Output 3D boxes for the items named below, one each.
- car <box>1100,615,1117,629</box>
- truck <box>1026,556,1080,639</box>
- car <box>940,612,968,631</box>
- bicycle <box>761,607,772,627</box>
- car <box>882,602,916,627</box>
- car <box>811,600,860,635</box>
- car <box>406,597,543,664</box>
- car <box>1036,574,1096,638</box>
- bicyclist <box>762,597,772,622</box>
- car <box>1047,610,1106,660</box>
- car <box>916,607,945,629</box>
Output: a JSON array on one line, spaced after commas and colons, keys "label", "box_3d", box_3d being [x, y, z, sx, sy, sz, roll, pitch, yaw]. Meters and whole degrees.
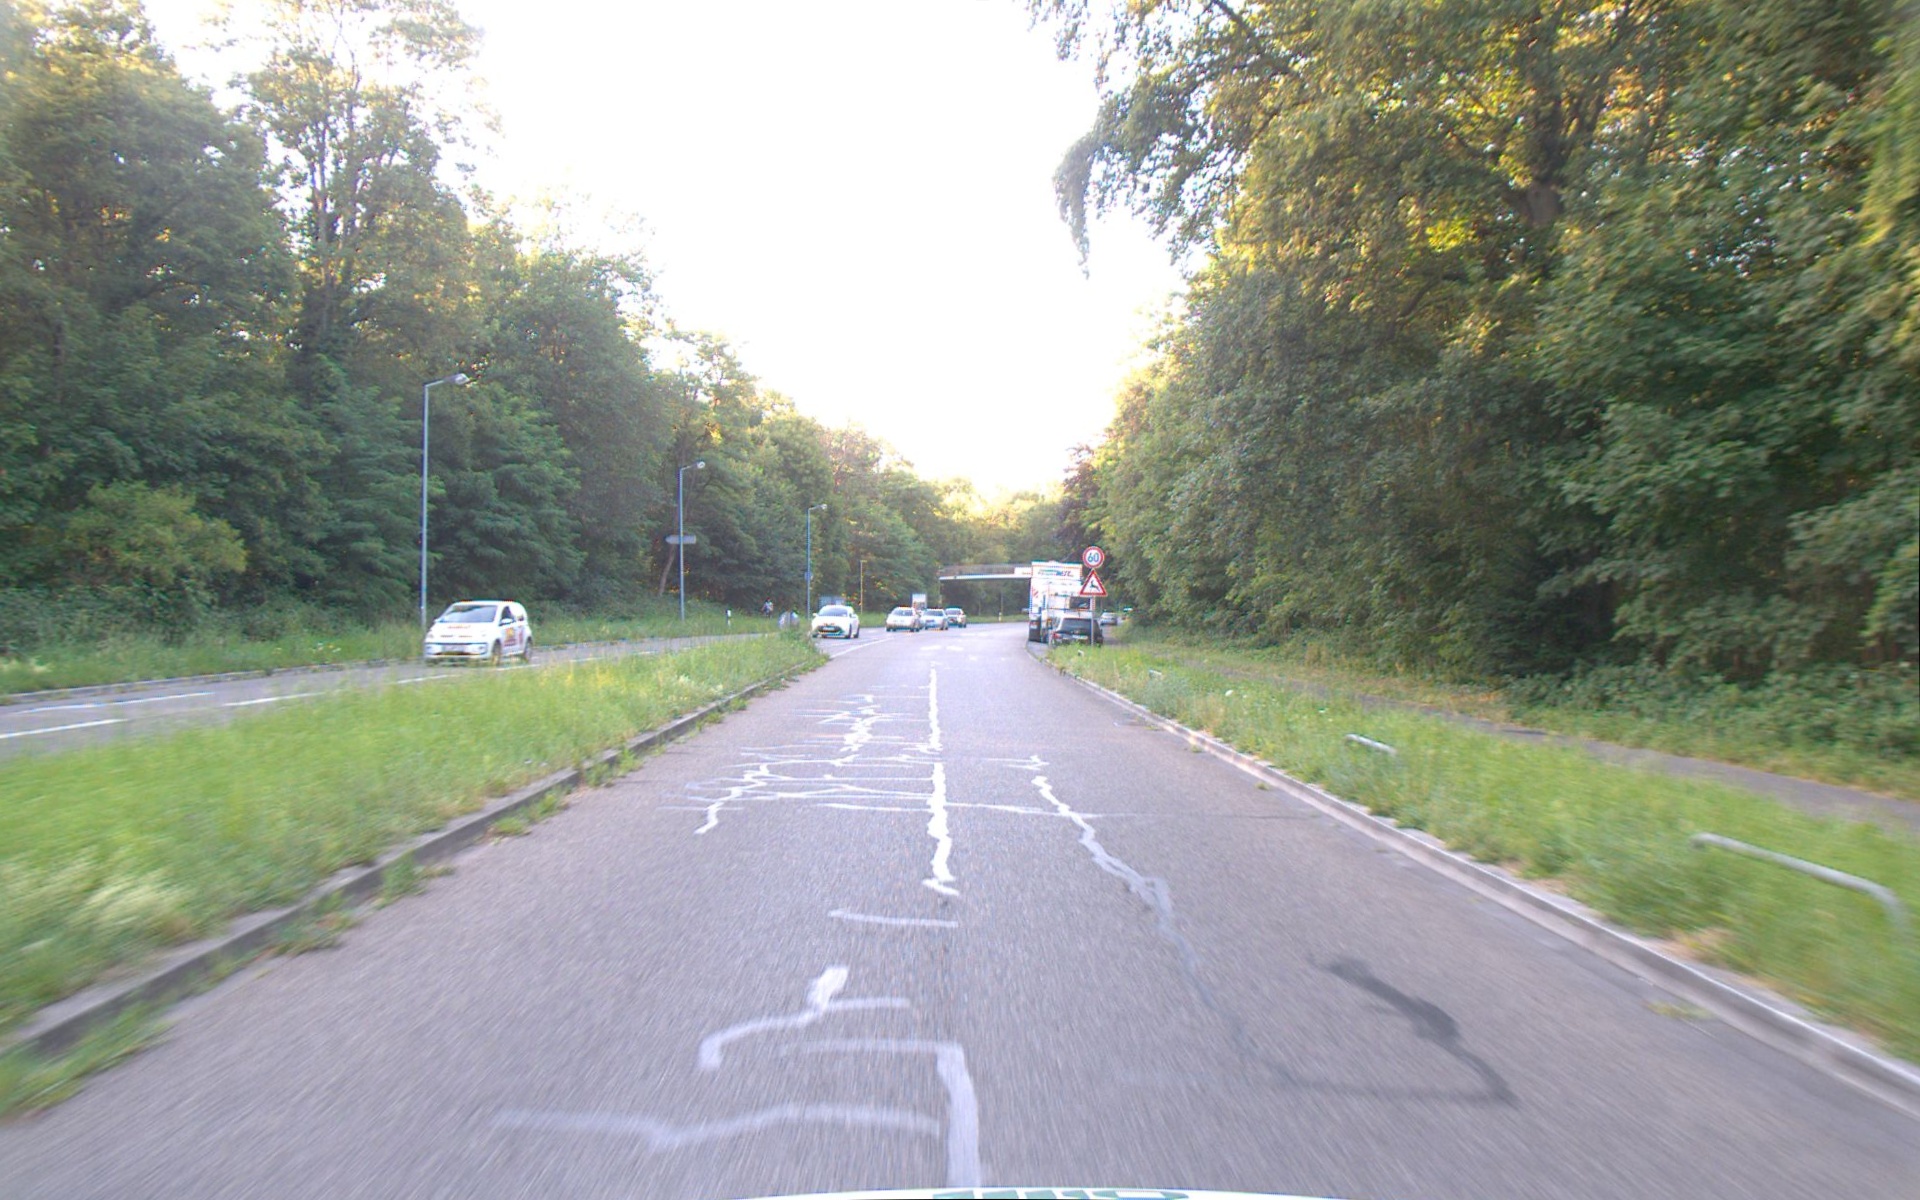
[{"label": "car", "box_3d": [16.307, 2.387, 181.911, 1.851, 1.473, 4.112, 0, 0, 5]}, {"label": "truck", "box_3d": [4.881, -0.106, 86.970, 2.602, 4.098, 9.726, 1, 0, 3]}, {"label": "car", "box_3d": [-0.472, 1.692, 132.525, 1.852, 1.465, 4.772, 2, 0, 4]}, {"label": "bicycle", "box_3d": [-12.197, 1.061, 104.436, 0.618, 1.239, 2.257, 0, 0, -8]}, {"label": "car", "box_3d": [-3.727, 0.882, 102.001, 1.680, 1.471, 4.175, 0, 0, 3]}, {"label": "car", "box_3d": [-5.663, 0.833, 75.722, 1.797, 1.534, 3.938, 0, -2, 2]}, {"label": "car", "box_3d": [-11.352, 0.742, 38.961, 1.952, 1.484, 3.811, 0, -2, 2]}, {"label": "car", "box_3d": [5.019, 0.291, 78.962, 2.359, 2.908, 5.931, 1, -1, -1]}, {"label": "bicyclist", "box_3d": [-12.200, 0.603, 104.455, 0.608, 1.537, 0.845, 0, 1, -9]}, {"label": "car", "box_3d": [3.650, 1.080, 52.150, 1.629, 1.430, 3.943, 3, 0, 2]}, {"label": "car", "box_3d": [-2.030, 1.249, 114.956, 1.684, 1.422, 4.377, 1, 0, 3]}]
